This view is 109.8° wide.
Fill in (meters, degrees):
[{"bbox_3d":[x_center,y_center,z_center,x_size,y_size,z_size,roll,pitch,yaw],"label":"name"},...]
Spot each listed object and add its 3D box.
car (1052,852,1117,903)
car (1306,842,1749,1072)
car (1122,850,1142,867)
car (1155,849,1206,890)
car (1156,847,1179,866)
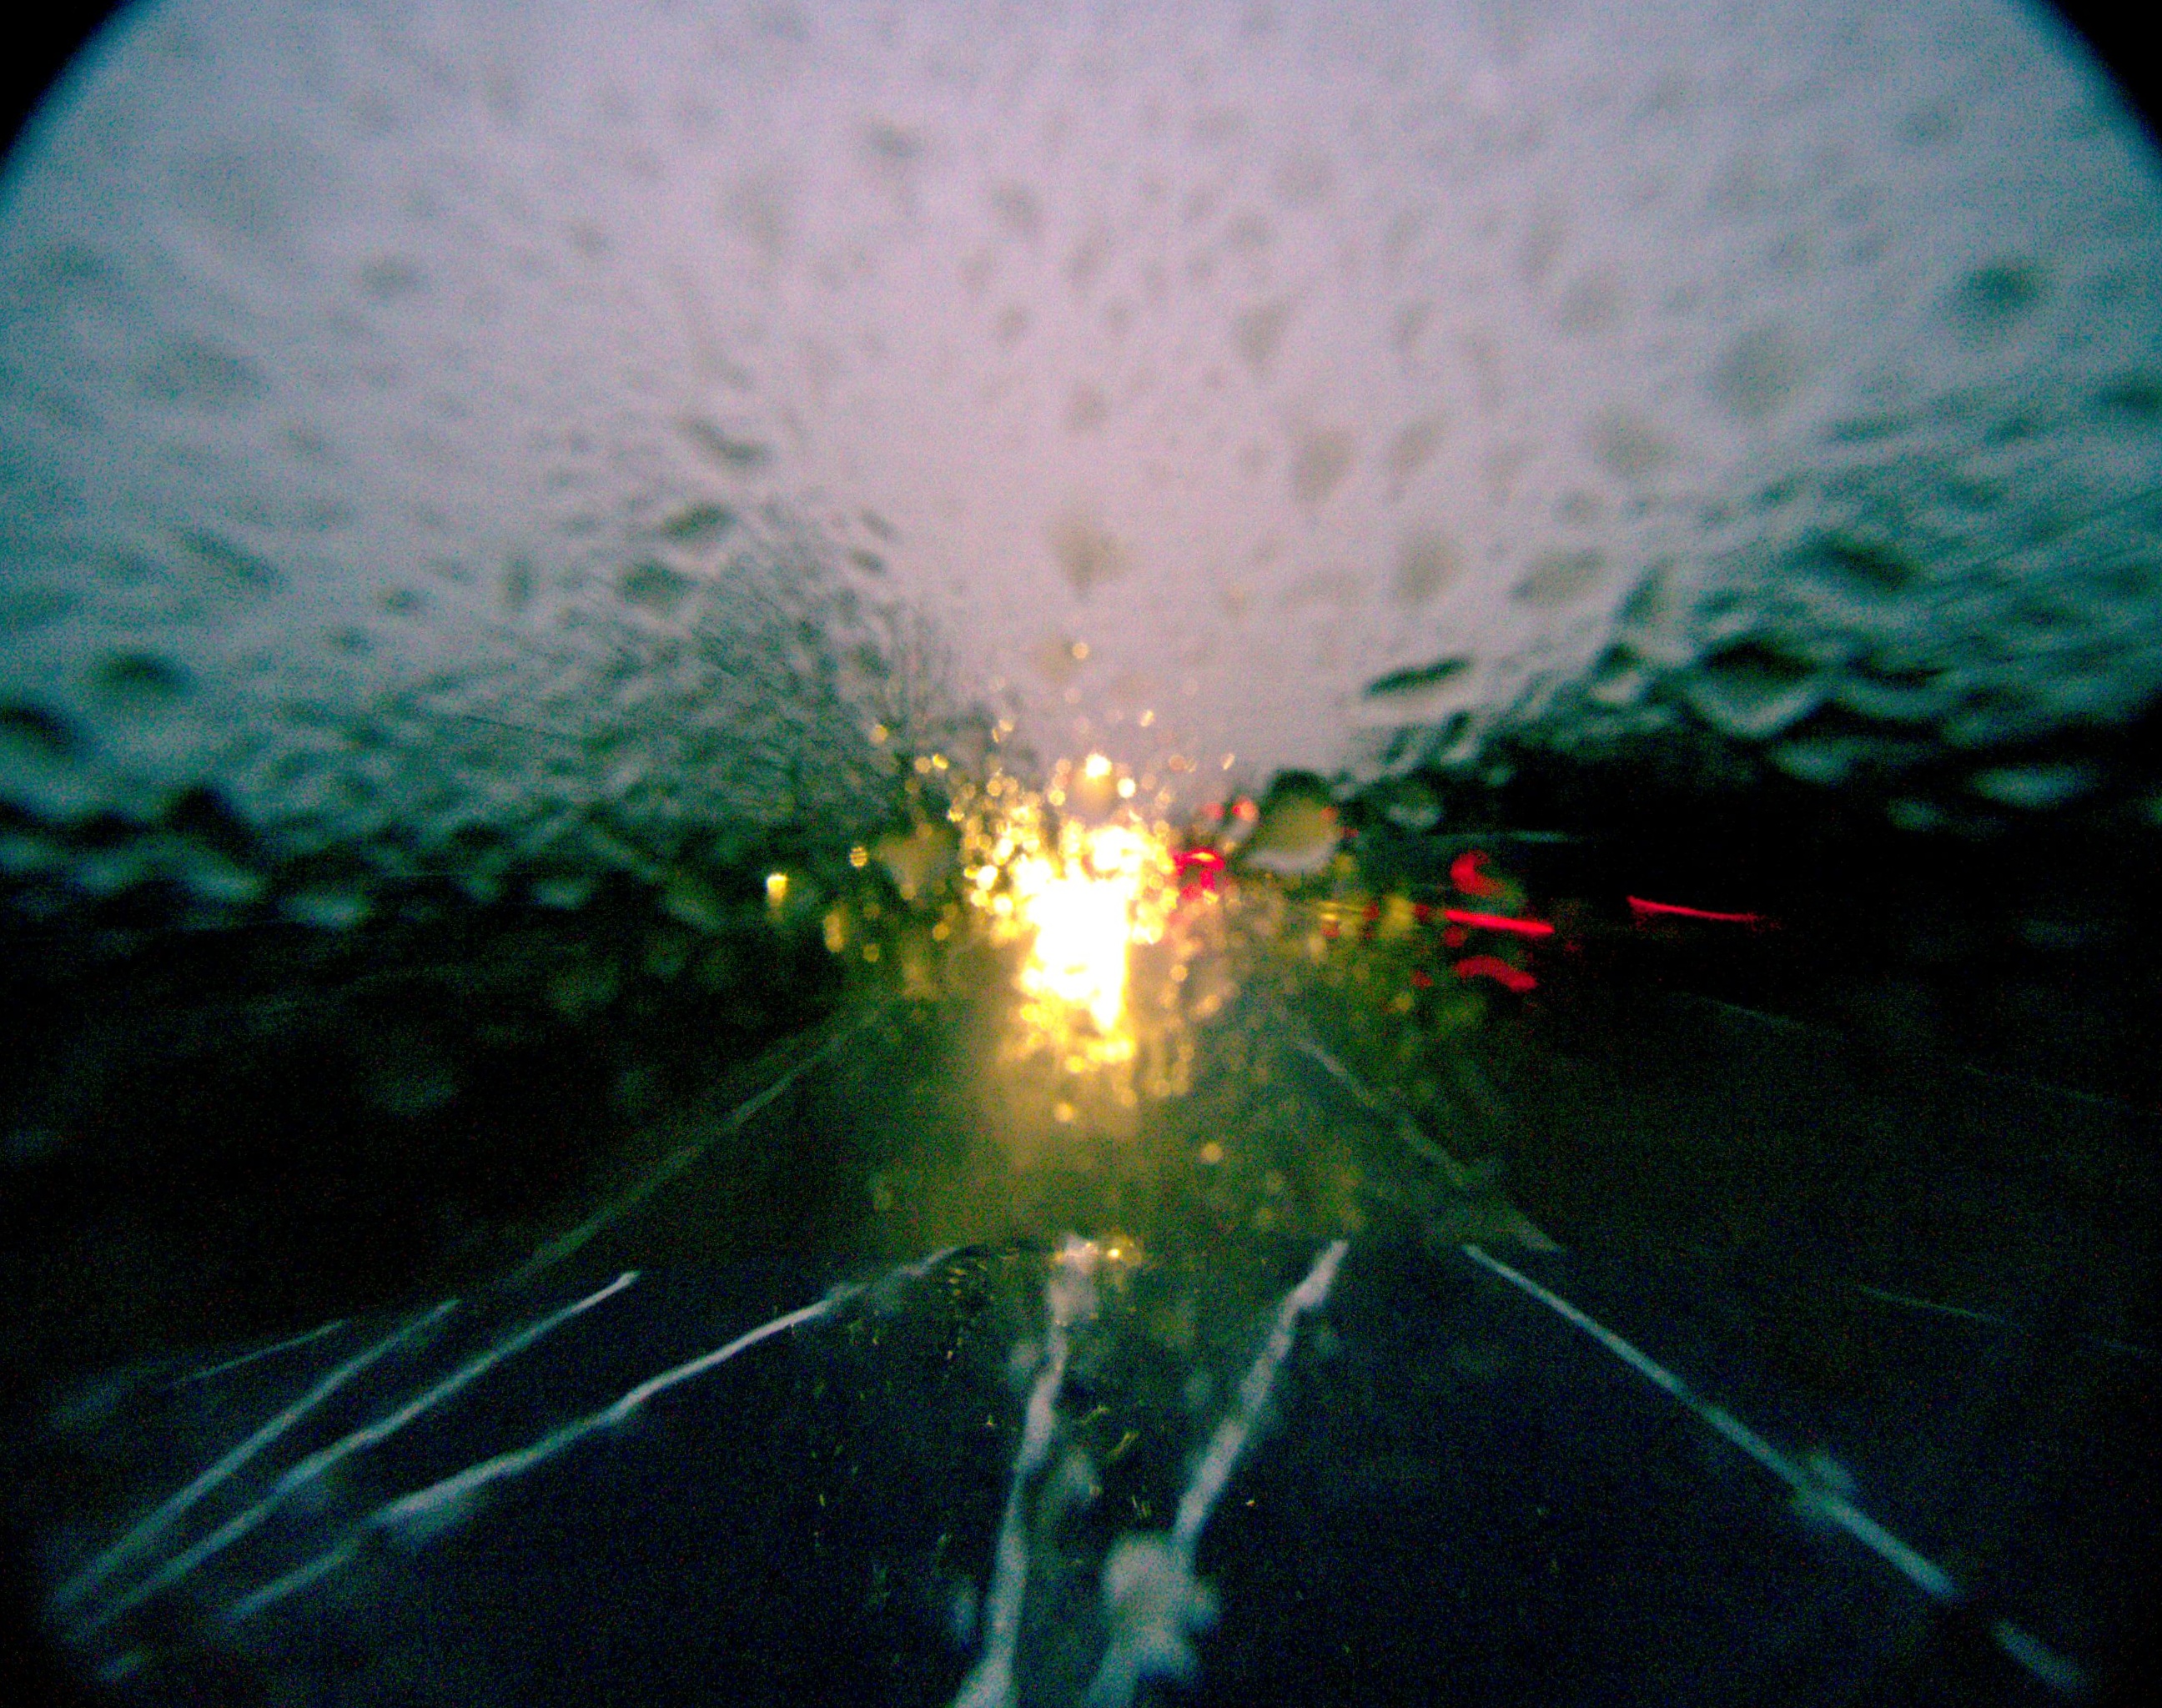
[{"bbox_3d":[0.215,0.800,27.575,1.998,1.601,4.001,-3,0,4],"label":"car"},{"bbox_3d":[3.875,0.720,7.759,1.784,1.587,4.692,-2,0,1],"label":"car"},{"bbox_3d":[4.961,0.444,74.586,1.695,1.521,4.085,-3,0,1],"label":"car"},{"bbox_3d":[4.315,0.636,33.385,1.756,1.637,4.049,-2,0,1],"label":"car"},{"bbox_3d":[8.800,0.257,77.776,1.998,1.774,4.000,-3,1,2],"label":"car"}]
